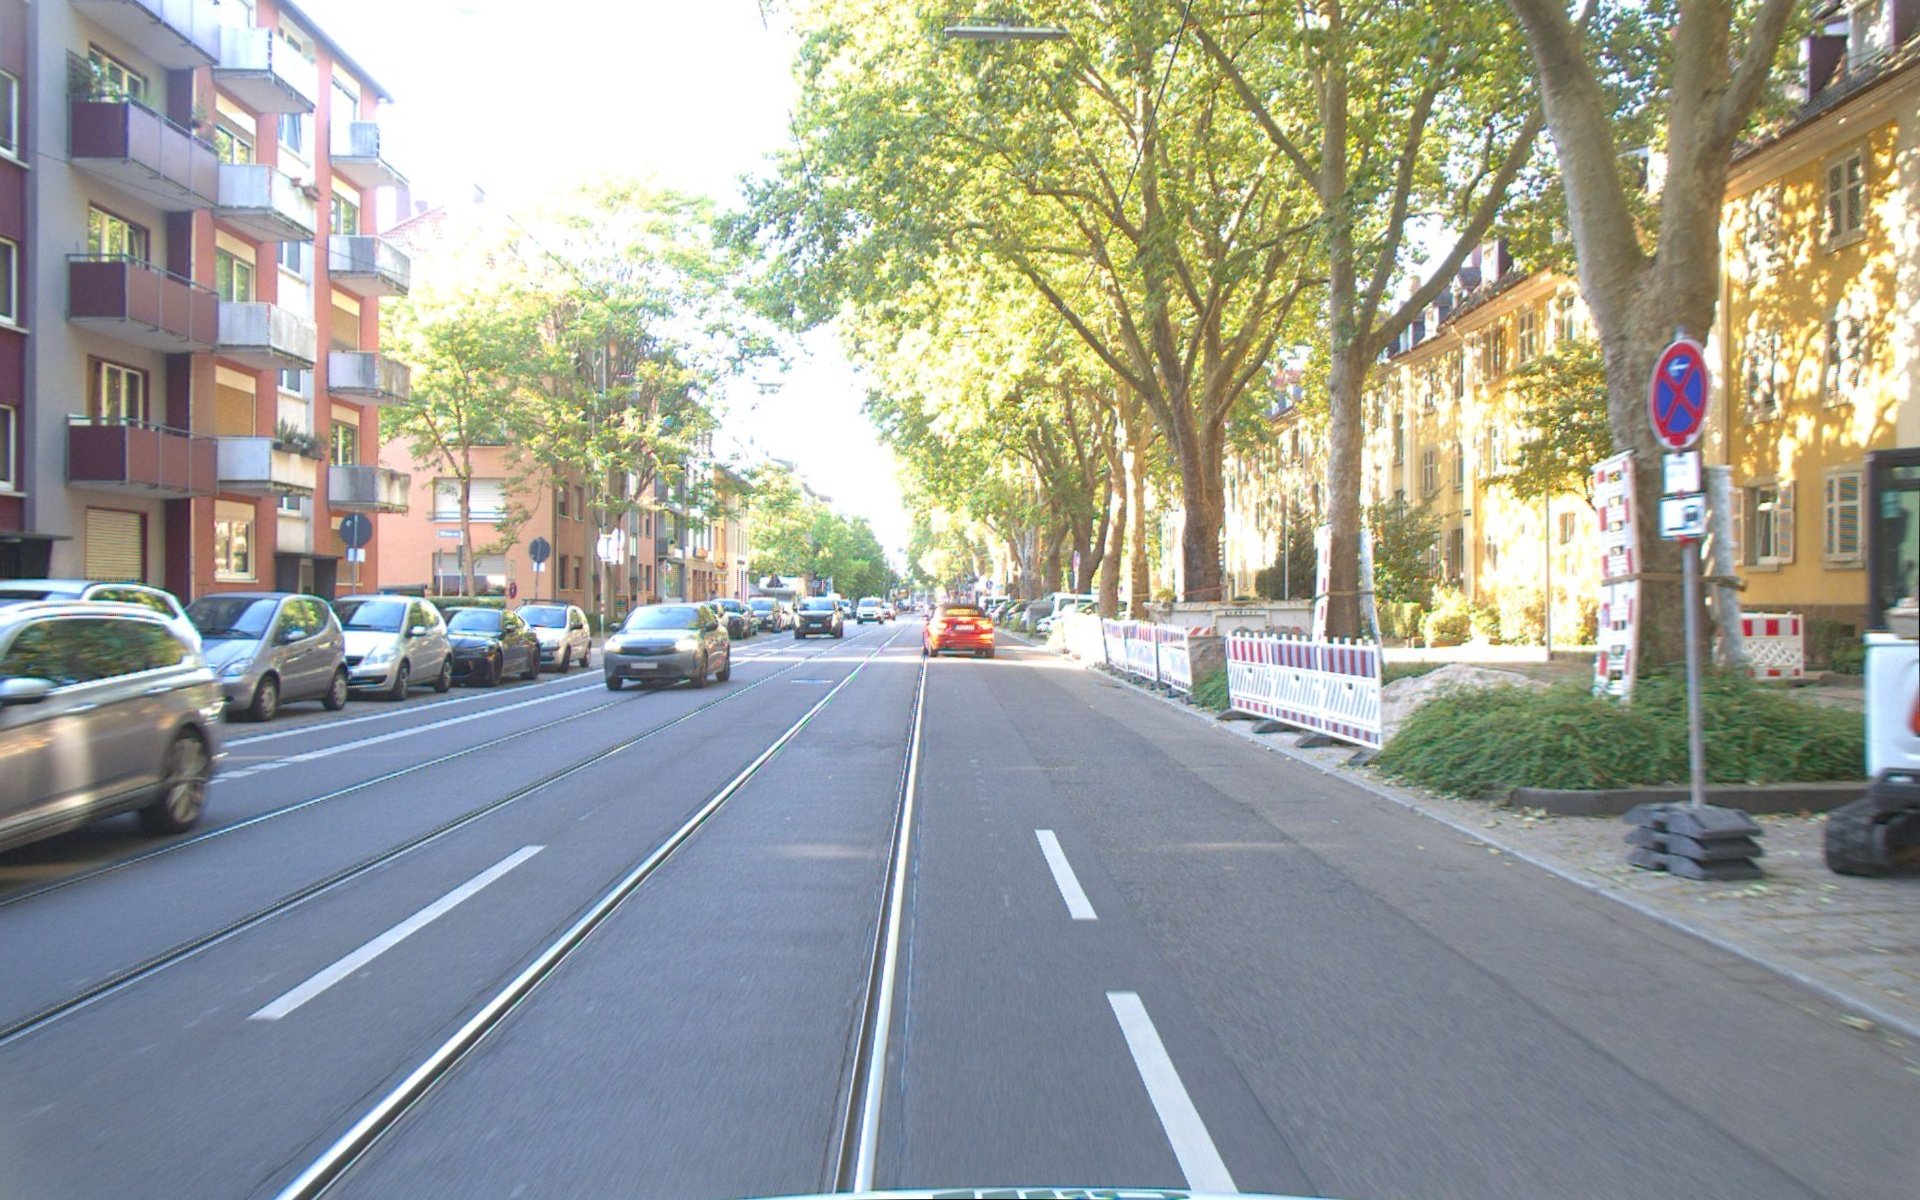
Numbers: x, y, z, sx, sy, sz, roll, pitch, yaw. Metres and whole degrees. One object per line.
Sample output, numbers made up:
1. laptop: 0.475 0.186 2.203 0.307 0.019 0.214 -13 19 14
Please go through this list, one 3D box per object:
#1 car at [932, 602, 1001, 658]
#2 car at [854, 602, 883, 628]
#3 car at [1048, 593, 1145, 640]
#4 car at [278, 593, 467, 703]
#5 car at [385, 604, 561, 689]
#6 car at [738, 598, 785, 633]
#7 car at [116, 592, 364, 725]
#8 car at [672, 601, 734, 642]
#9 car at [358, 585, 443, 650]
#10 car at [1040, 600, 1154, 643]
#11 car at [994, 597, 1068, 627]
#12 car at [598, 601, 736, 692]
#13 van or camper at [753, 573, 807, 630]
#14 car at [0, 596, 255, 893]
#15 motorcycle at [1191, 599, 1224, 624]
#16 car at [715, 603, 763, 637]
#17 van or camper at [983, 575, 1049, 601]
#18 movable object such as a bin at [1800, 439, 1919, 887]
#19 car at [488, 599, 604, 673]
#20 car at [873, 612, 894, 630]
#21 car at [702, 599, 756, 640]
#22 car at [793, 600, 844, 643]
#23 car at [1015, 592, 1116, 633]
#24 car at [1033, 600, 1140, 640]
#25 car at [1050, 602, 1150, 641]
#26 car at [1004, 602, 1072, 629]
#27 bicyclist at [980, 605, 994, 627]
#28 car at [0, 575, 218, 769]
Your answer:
1. car: 0.159 0.783 44.971 1.756 1.413 4.236 1 0 0
2. car: -6.560 1.070 119.058 1.853 1.864 4.894 0 0 -1
3. car: 5.351 0.654 65.108 3.764 1.803 1.917 0 0 3
4. car: -9.415 0.726 26.831 1.783 1.614 4.003 1 0 -3
5. car: -9.322 0.838 32.080 1.912 1.419 4.862 3 0 0
6. car: -10.249 0.781 85.814 1.913 1.716 5.068 2 0 -2
7. car: -9.334 0.716 21.771 1.592 1.599 3.781 0 -1 0
8. car: -10.173 0.829 65.698 1.769 1.504 4.089 2 0 0
9. car: -19.450 0.594 57.364 1.972 2.160 4.677 1 -1 -29
10. car: 5.009 0.779 60.819 4.006 1.548 1.915 0 -1 -2
11. car: 4.281 0.728 99.848 4.402 1.630 2.028 -2 0 3
12. car: -5.129 0.768 29.430 1.759 1.471 4.052 -1 0 -1
13. van or camper: -10.621 0.095 98.067 2.290 3.094 6.396 3 0 0
14. car: -5.696 0.729 9.084 1.759 1.471 4.715 0 0 -2
15. motorcycle: 14.608 0.669 97.583 1.768 1.385 0.622 -3 0 -4
16. car: -10.154 0.904 76.198 1.703 1.425 4.381 2 0 -2
17. van or camper: 4.869 -1.043 144.053 5.448 2.048 2.242 -2 2 -6
18. movable object such as a bin: 5.960 0.325 9.819 1.455 2.309 3.268 0 0 32
19. car: -9.264 0.765 37.331 1.690 1.509 3.928 2 0 -2
20. car: -6.656 1.823 144.172 1.739 1.483 4.201 -1 0 -1
21. car: -9.905 0.818 71.053 1.745 1.638 4.586 3 0 -2
22. car: -5.773 0.848 67.786 1.816 1.628 4.462 3 0 -2
23. car: 5.119 0.614 80.598 4.740 1.998 2.063 0 0 -3
24. car: 5.114 0.793 67.129 4.279 1.569 1.802 0 0 3
25. car: 5.322 0.829 63.144 3.764 1.458 1.852 0 0 3
26. car: 4.400 0.878 93.392 3.760 1.536 1.710 0 0 -2
27. bicyclist: 2.239 1.321 136.429 1.027 1.735 1.055 0 0 -10
28. car: -9.328 0.612 16.301 1.913 1.677 4.879 2 -1 -2
